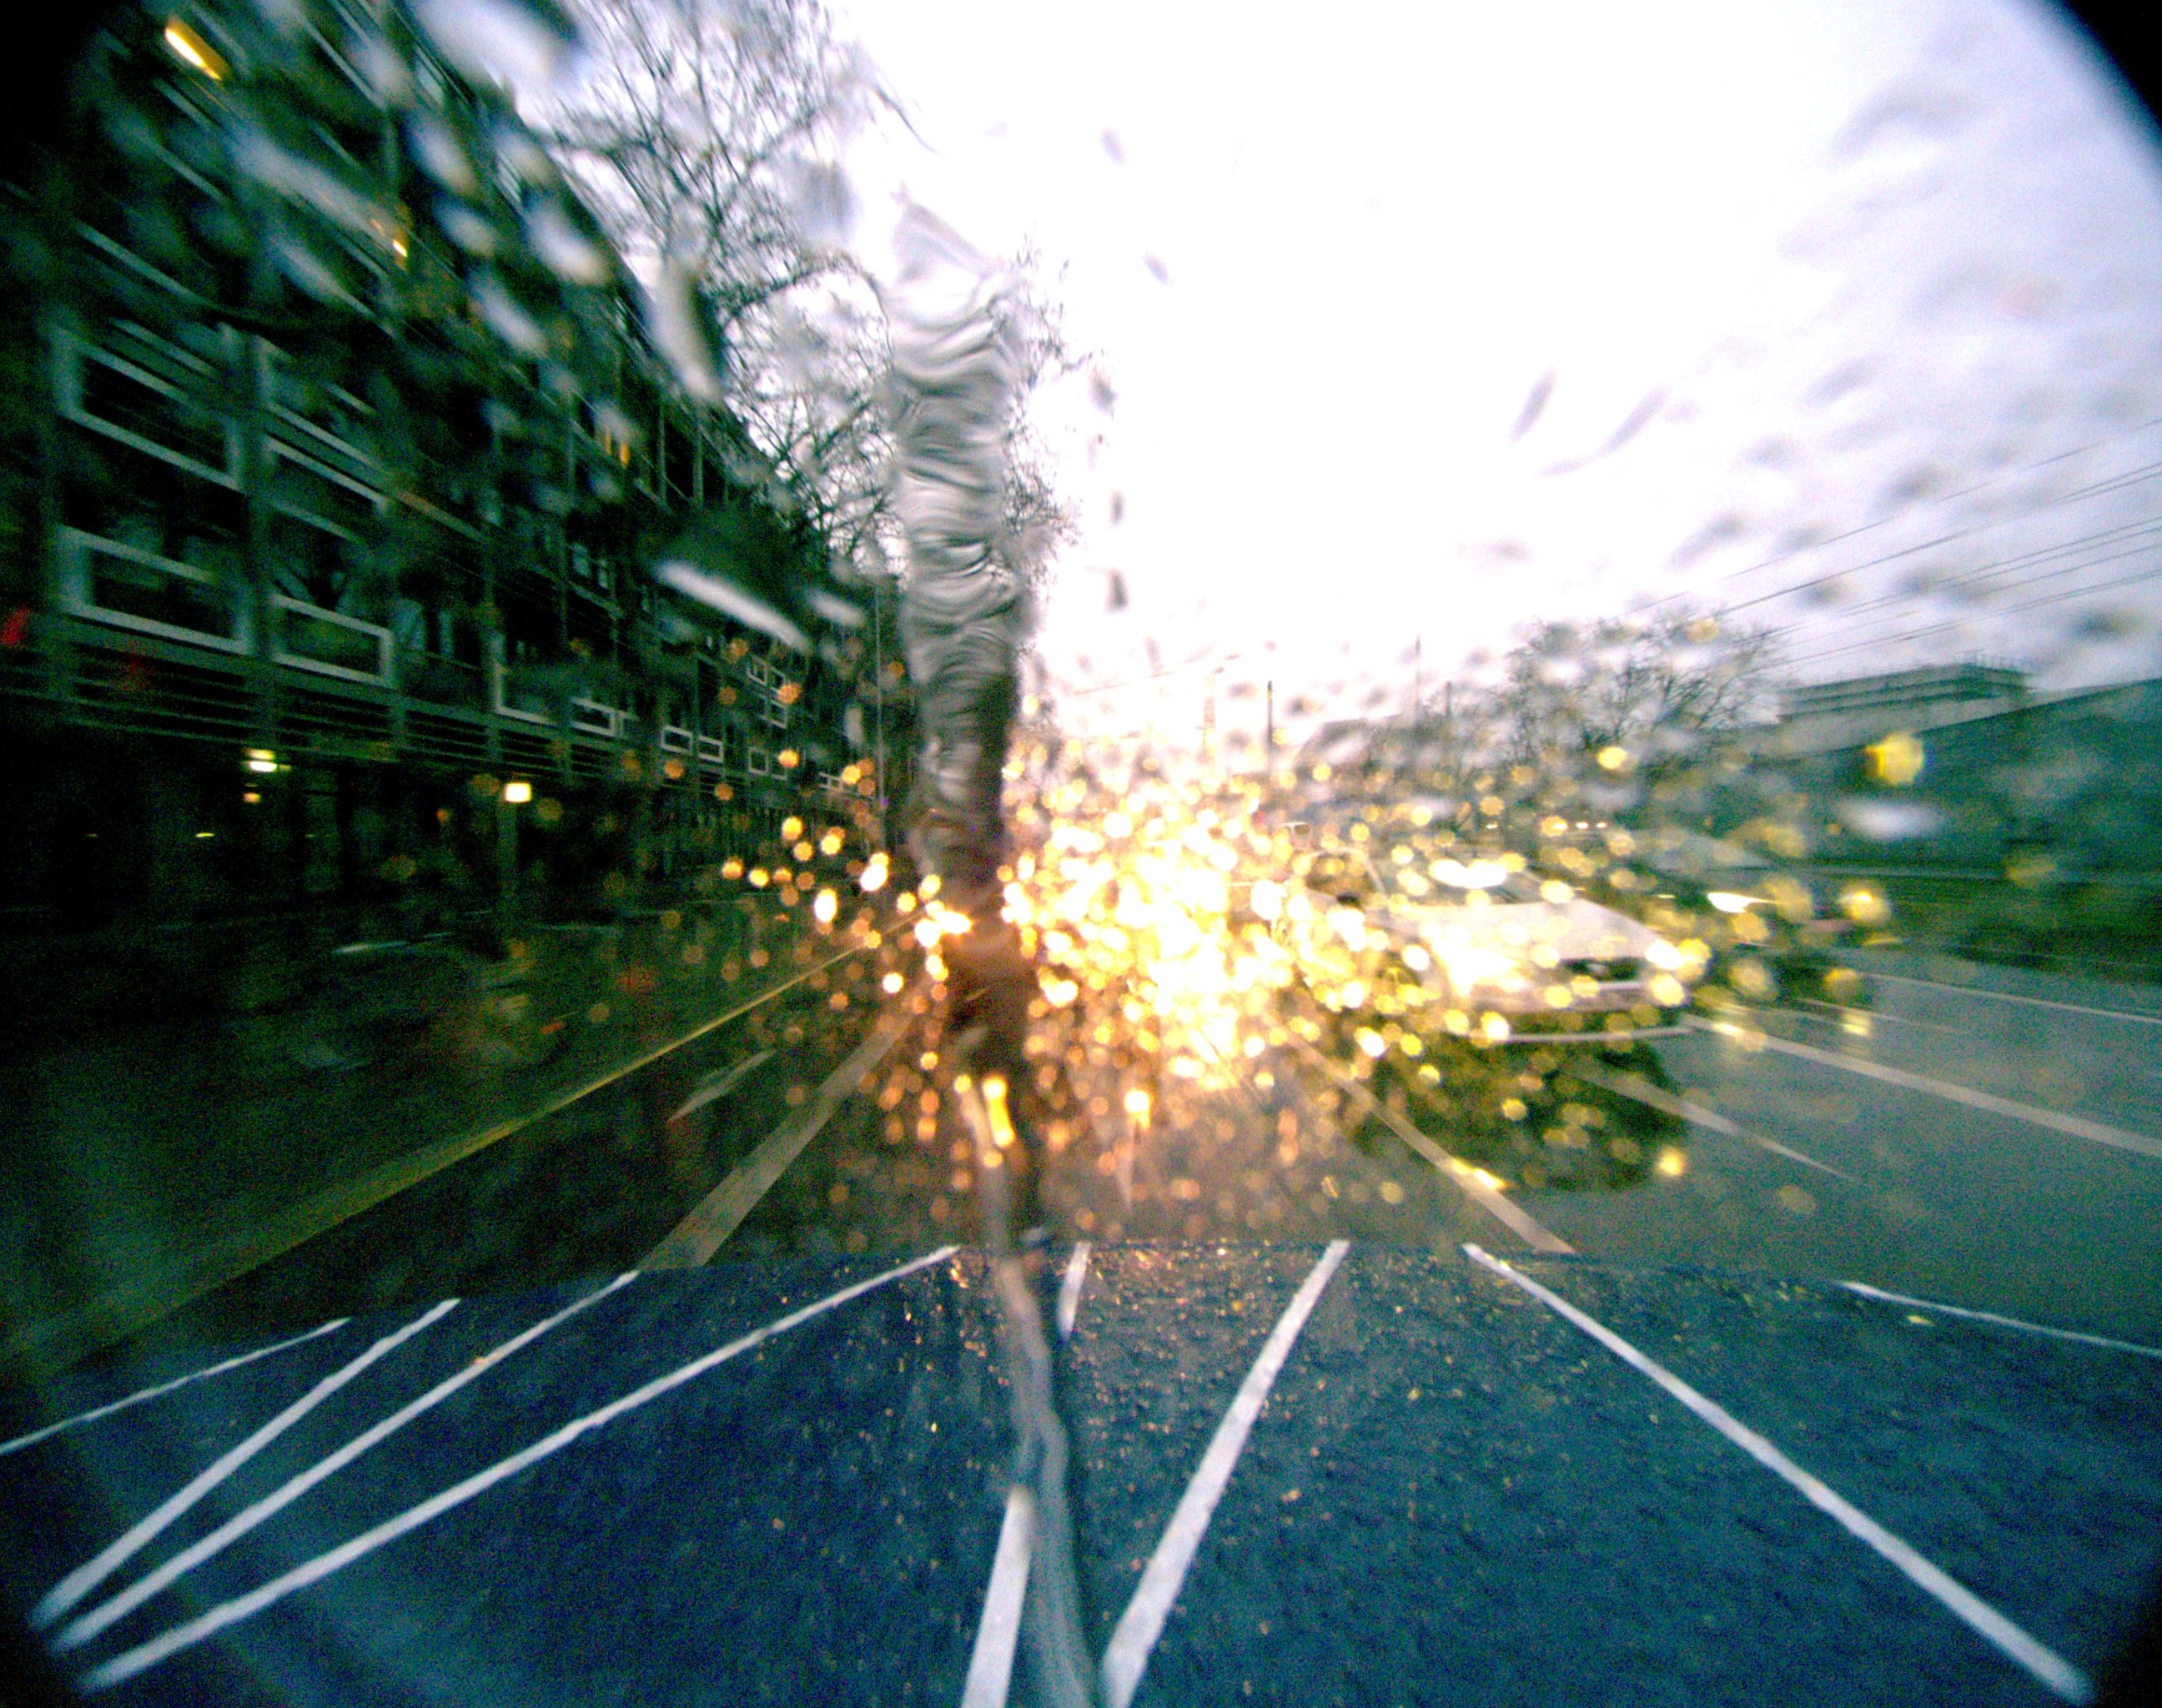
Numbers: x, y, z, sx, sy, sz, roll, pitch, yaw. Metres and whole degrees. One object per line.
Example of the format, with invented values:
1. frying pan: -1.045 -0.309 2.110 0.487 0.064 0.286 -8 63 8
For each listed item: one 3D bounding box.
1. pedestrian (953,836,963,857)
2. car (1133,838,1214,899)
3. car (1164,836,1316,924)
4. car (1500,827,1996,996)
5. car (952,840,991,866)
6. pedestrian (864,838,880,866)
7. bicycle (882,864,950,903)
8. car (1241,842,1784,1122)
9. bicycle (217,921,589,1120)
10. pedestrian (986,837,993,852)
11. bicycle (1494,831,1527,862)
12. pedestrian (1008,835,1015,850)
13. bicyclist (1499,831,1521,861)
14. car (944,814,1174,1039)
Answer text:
1. pedestrian: -10.275 -0.618 63.566 0.766 1.740 0.927 -1 2 -4
2. car: 2.653 0.359 22.656 1.907 1.565 3.999 -2 2 0
3. car: 2.972 0.393 15.267 1.999 1.478 4.503 -1 1 -2
4. car: 7.369 0.451 9.259 1.853 1.500 4.661 -1 2 -2
5. car: -6.676 -0.104 46.713 1.713 1.455 3.999 -2 2 0
6. pedestrian: -13.076 -0.118 47.555 0.766 1.740 0.927 -1 2 -4
7. bicycle: -4.580 0.806 21.147 1.704 0.987 0.879 1 2 0
8. car: 2.976 0.693 6.603 1.949 1.478 4.503 -2 2 -3
9. bicycle: -4.303 1.036 4.911 1.811 1.124 0.640 1 0 0
10. pedestrian: -10.406 -1.103 86.688 0.766 1.740 0.927 -1 2 -4
11. bicycle: 25.533 -0.476 45.201 0.763 1.723 2.062 -2 3 -3
12. pedestrian: -8.223 -1.335 89.975 0.766 1.740 0.927 -1 2 -4
13. bicyclist: 25.518 -0.483 45.204 0.763 1.723 0.960 -2 3 -3
14. car: -0.295 0.556 8.451 1.878 1.831 3.997 -2 2 -4
